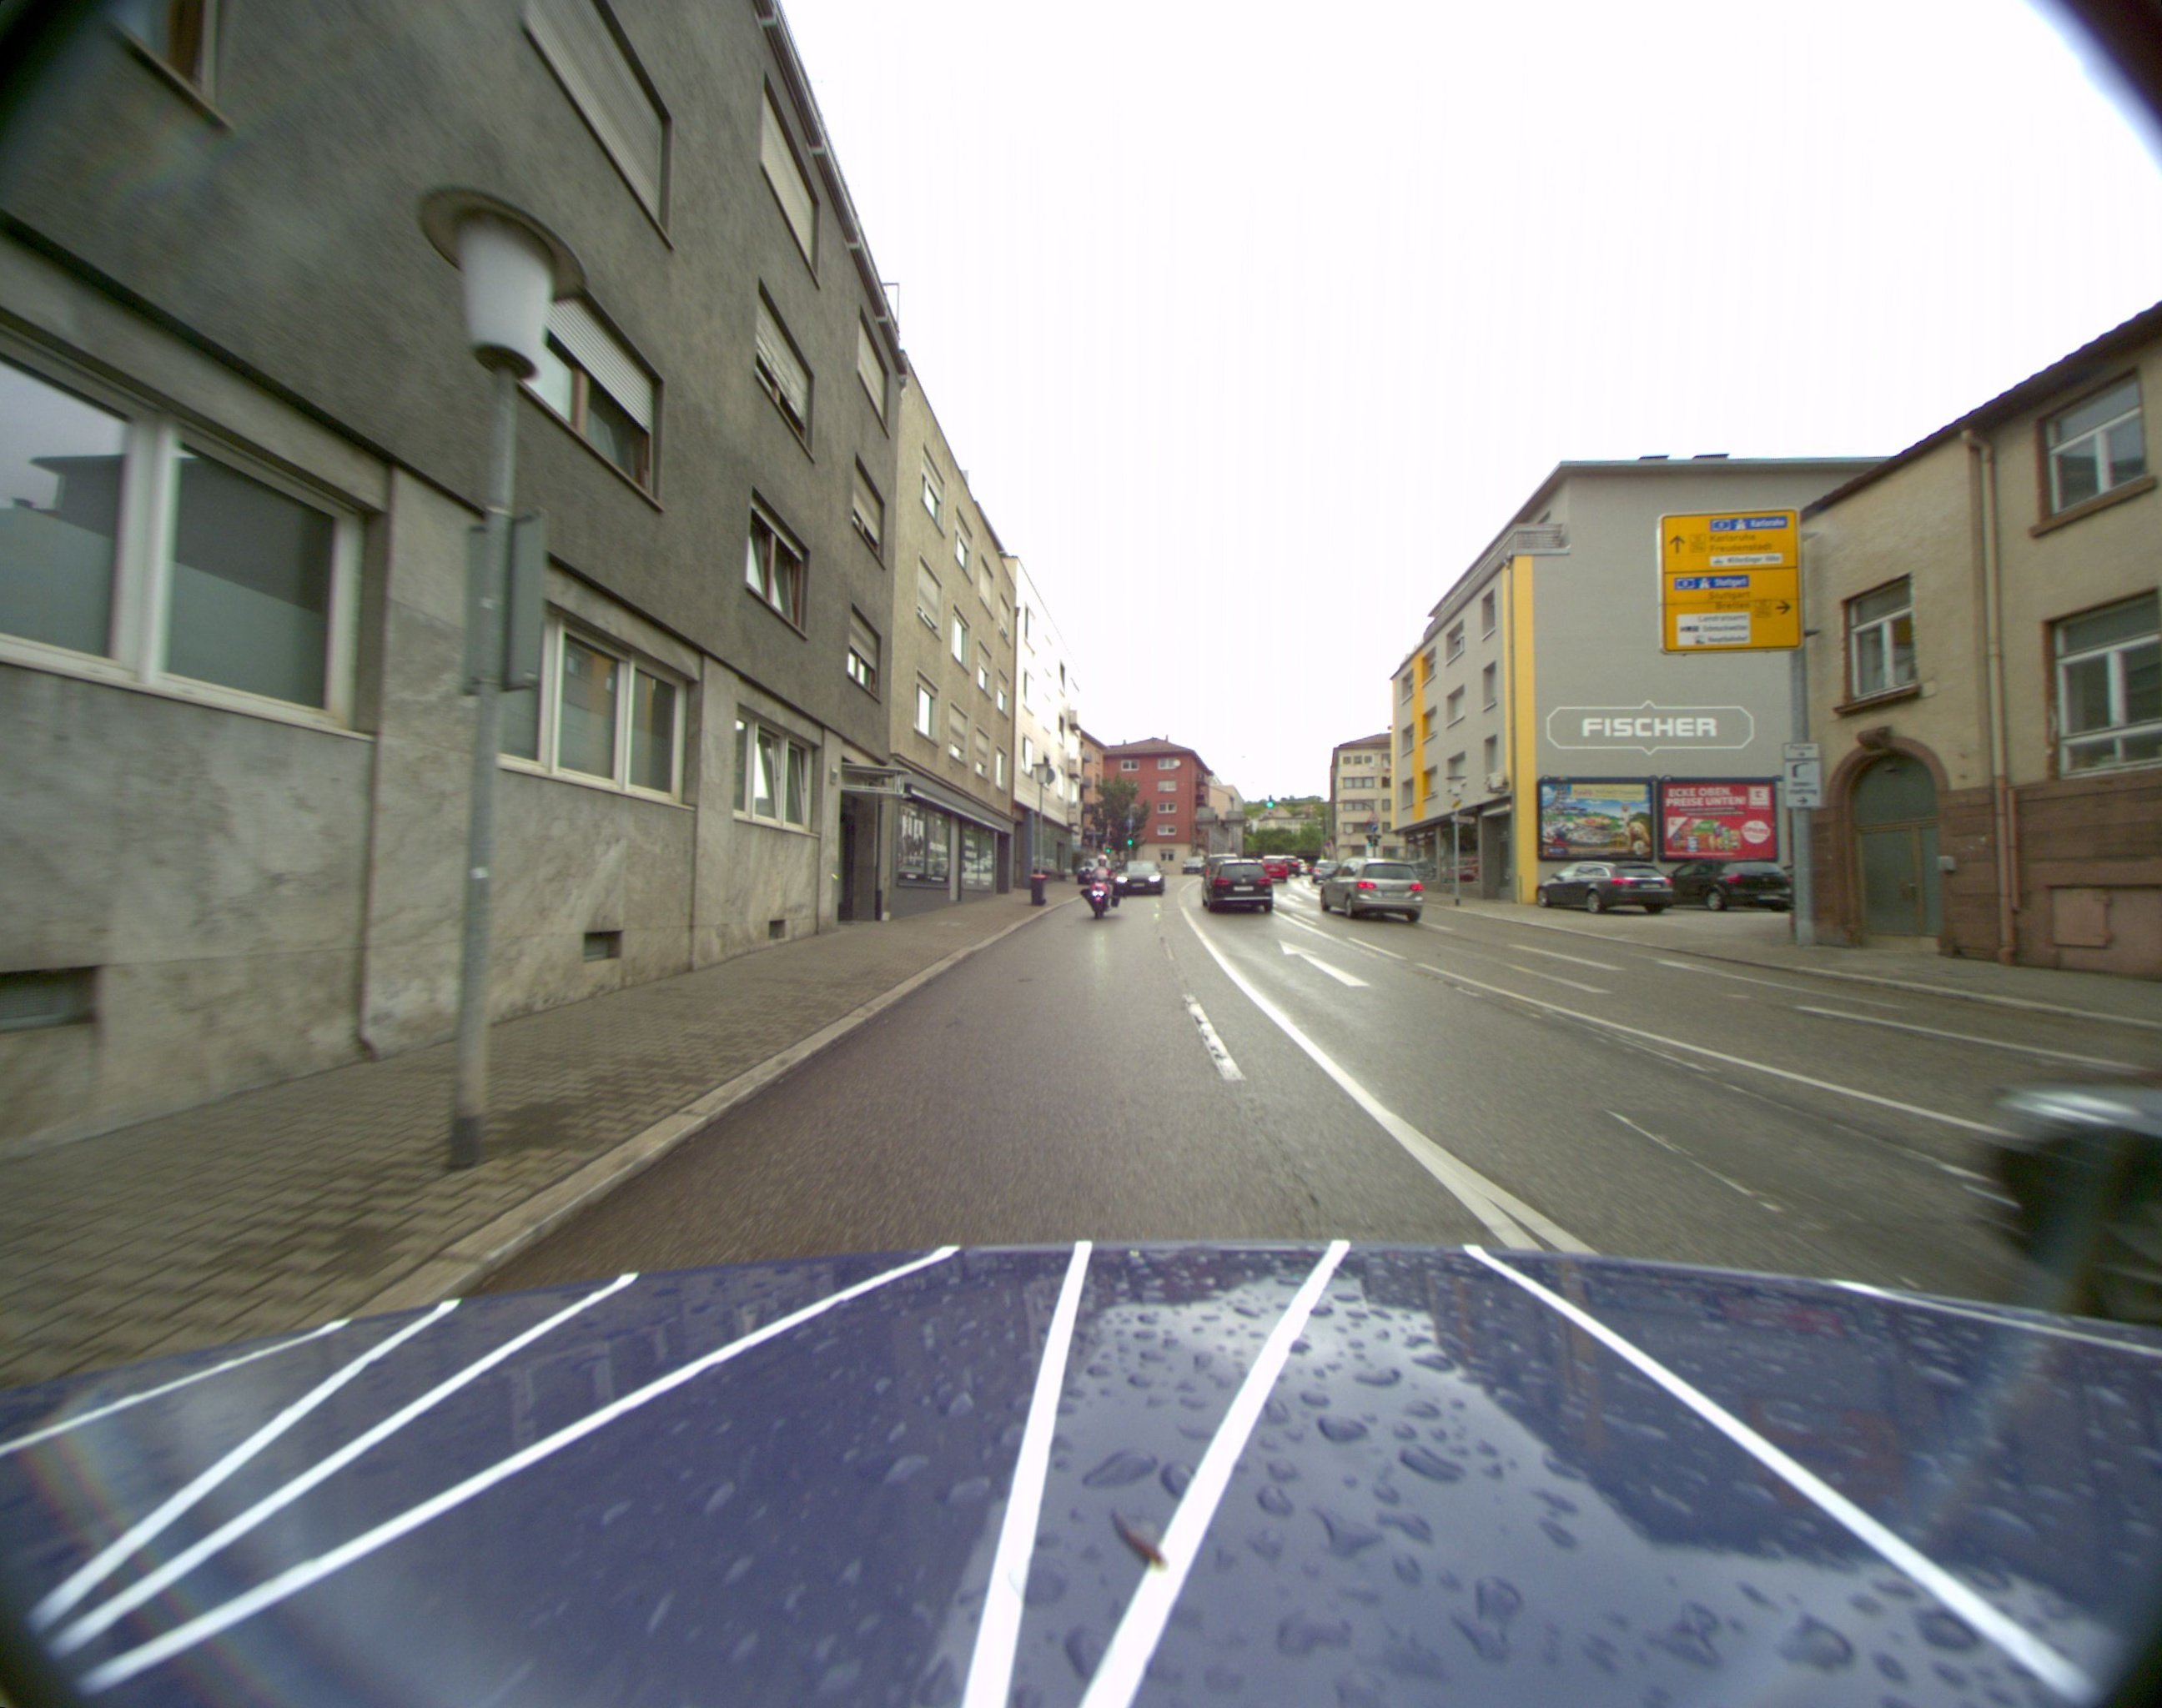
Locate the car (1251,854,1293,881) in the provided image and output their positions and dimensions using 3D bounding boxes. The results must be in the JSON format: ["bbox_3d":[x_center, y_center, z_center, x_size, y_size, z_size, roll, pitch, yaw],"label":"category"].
[{"bbox_3d":[11.833,0.793,47.287,1.744,1.507,4.131,2,1,4],"label":"car"}]

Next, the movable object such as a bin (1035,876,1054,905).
[{"bbox_3d":[-1.188,1.194,24.791,0.525,0.944,0.538,-1,-4,9],"label":"movable object such as a bin"}]

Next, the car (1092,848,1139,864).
[{"bbox_3d":[3.768,0.223,82.717,4.784,1.545,1.853,1,-1,19],"label":"car"}]

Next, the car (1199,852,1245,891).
[{"bbox_3d":[6.615,0.782,36.044,1.810,1.695,4.563,-1,0,6],"label":"car"}]

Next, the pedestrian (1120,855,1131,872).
[{"bbox_3d":[4.428,0.918,75.737,0.708,1.636,0.761,1,-4,30],"label":"pedestrian"}]

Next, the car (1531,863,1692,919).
[{"bbox_3d":[15.594,1.013,22.692,1.695,1.446,4.665,-1,0,2],"label":"car"}]

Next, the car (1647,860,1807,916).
[{"bbox_3d":[18.838,0.927,22.393,1.694,1.455,3.856,-1,0,5],"label":"car"}]

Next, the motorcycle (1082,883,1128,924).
[{"bbox_3d":[0.658,1.260,19.896,0.636,0.921,2.368,-2,-1,15],"label":"motorcycle"}]

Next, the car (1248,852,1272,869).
[{"bbox_3d":[16.708,0.614,70.837,1.809,1.512,4.567,0,1,17],"label":"car"}]

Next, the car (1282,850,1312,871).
[{"bbox_3d":[16.571,0.458,58.438,1.743,1.507,4.134,2,1,11],"label":"car"}]

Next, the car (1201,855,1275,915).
[{"bbox_3d":[4.506,0.832,22.330,1.726,1.507,4.371,-1,1,7],"label":"car"}]

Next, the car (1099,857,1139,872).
[{"bbox_3d":[4.263,1.152,84.866,3.991,1.650,1.996,0,-2,17],"label":"car"}]

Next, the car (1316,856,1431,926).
[{"bbox_3d":[7.701,0.892,20.429,1.718,1.577,4.144,2,1,5],"label":"car"}]

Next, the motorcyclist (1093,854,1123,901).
[{"bbox_3d":[0.726,0.620,20.138,0.653,1.216,0.659,0,0,14],"label":"motorcyclist"}]

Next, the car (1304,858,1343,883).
[{"bbox_3d":[15.093,1.066,47.423,1.664,1.378,3.806,-1,-4,8],"label":"car"}]

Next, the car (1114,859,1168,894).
[{"bbox_3d":[2.710,0.994,33.538,1.873,1.433,4.005,-1,-2,11],"label":"car"}]

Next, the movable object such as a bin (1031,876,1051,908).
[{"bbox_3d":[-1.267,1.215,24.208,0.525,0.974,0.538,-1,-4,9],"label":"movable object such as a bin"}]

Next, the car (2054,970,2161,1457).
[{"bbox_3d":[3.994,0.998,0.327,1.719,1.309,4.142,0,0,-5],"label":"car"}]

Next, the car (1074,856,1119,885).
[{"bbox_3d":[0.908,0.895,42.347,1.766,1.384,4.382,2,1,10],"label":"car"}]

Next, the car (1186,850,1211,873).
[{"bbox_3d":[10.351,0.716,66.751,1.791,1.716,4.007,-1,-4,14],"label":"car"}]
